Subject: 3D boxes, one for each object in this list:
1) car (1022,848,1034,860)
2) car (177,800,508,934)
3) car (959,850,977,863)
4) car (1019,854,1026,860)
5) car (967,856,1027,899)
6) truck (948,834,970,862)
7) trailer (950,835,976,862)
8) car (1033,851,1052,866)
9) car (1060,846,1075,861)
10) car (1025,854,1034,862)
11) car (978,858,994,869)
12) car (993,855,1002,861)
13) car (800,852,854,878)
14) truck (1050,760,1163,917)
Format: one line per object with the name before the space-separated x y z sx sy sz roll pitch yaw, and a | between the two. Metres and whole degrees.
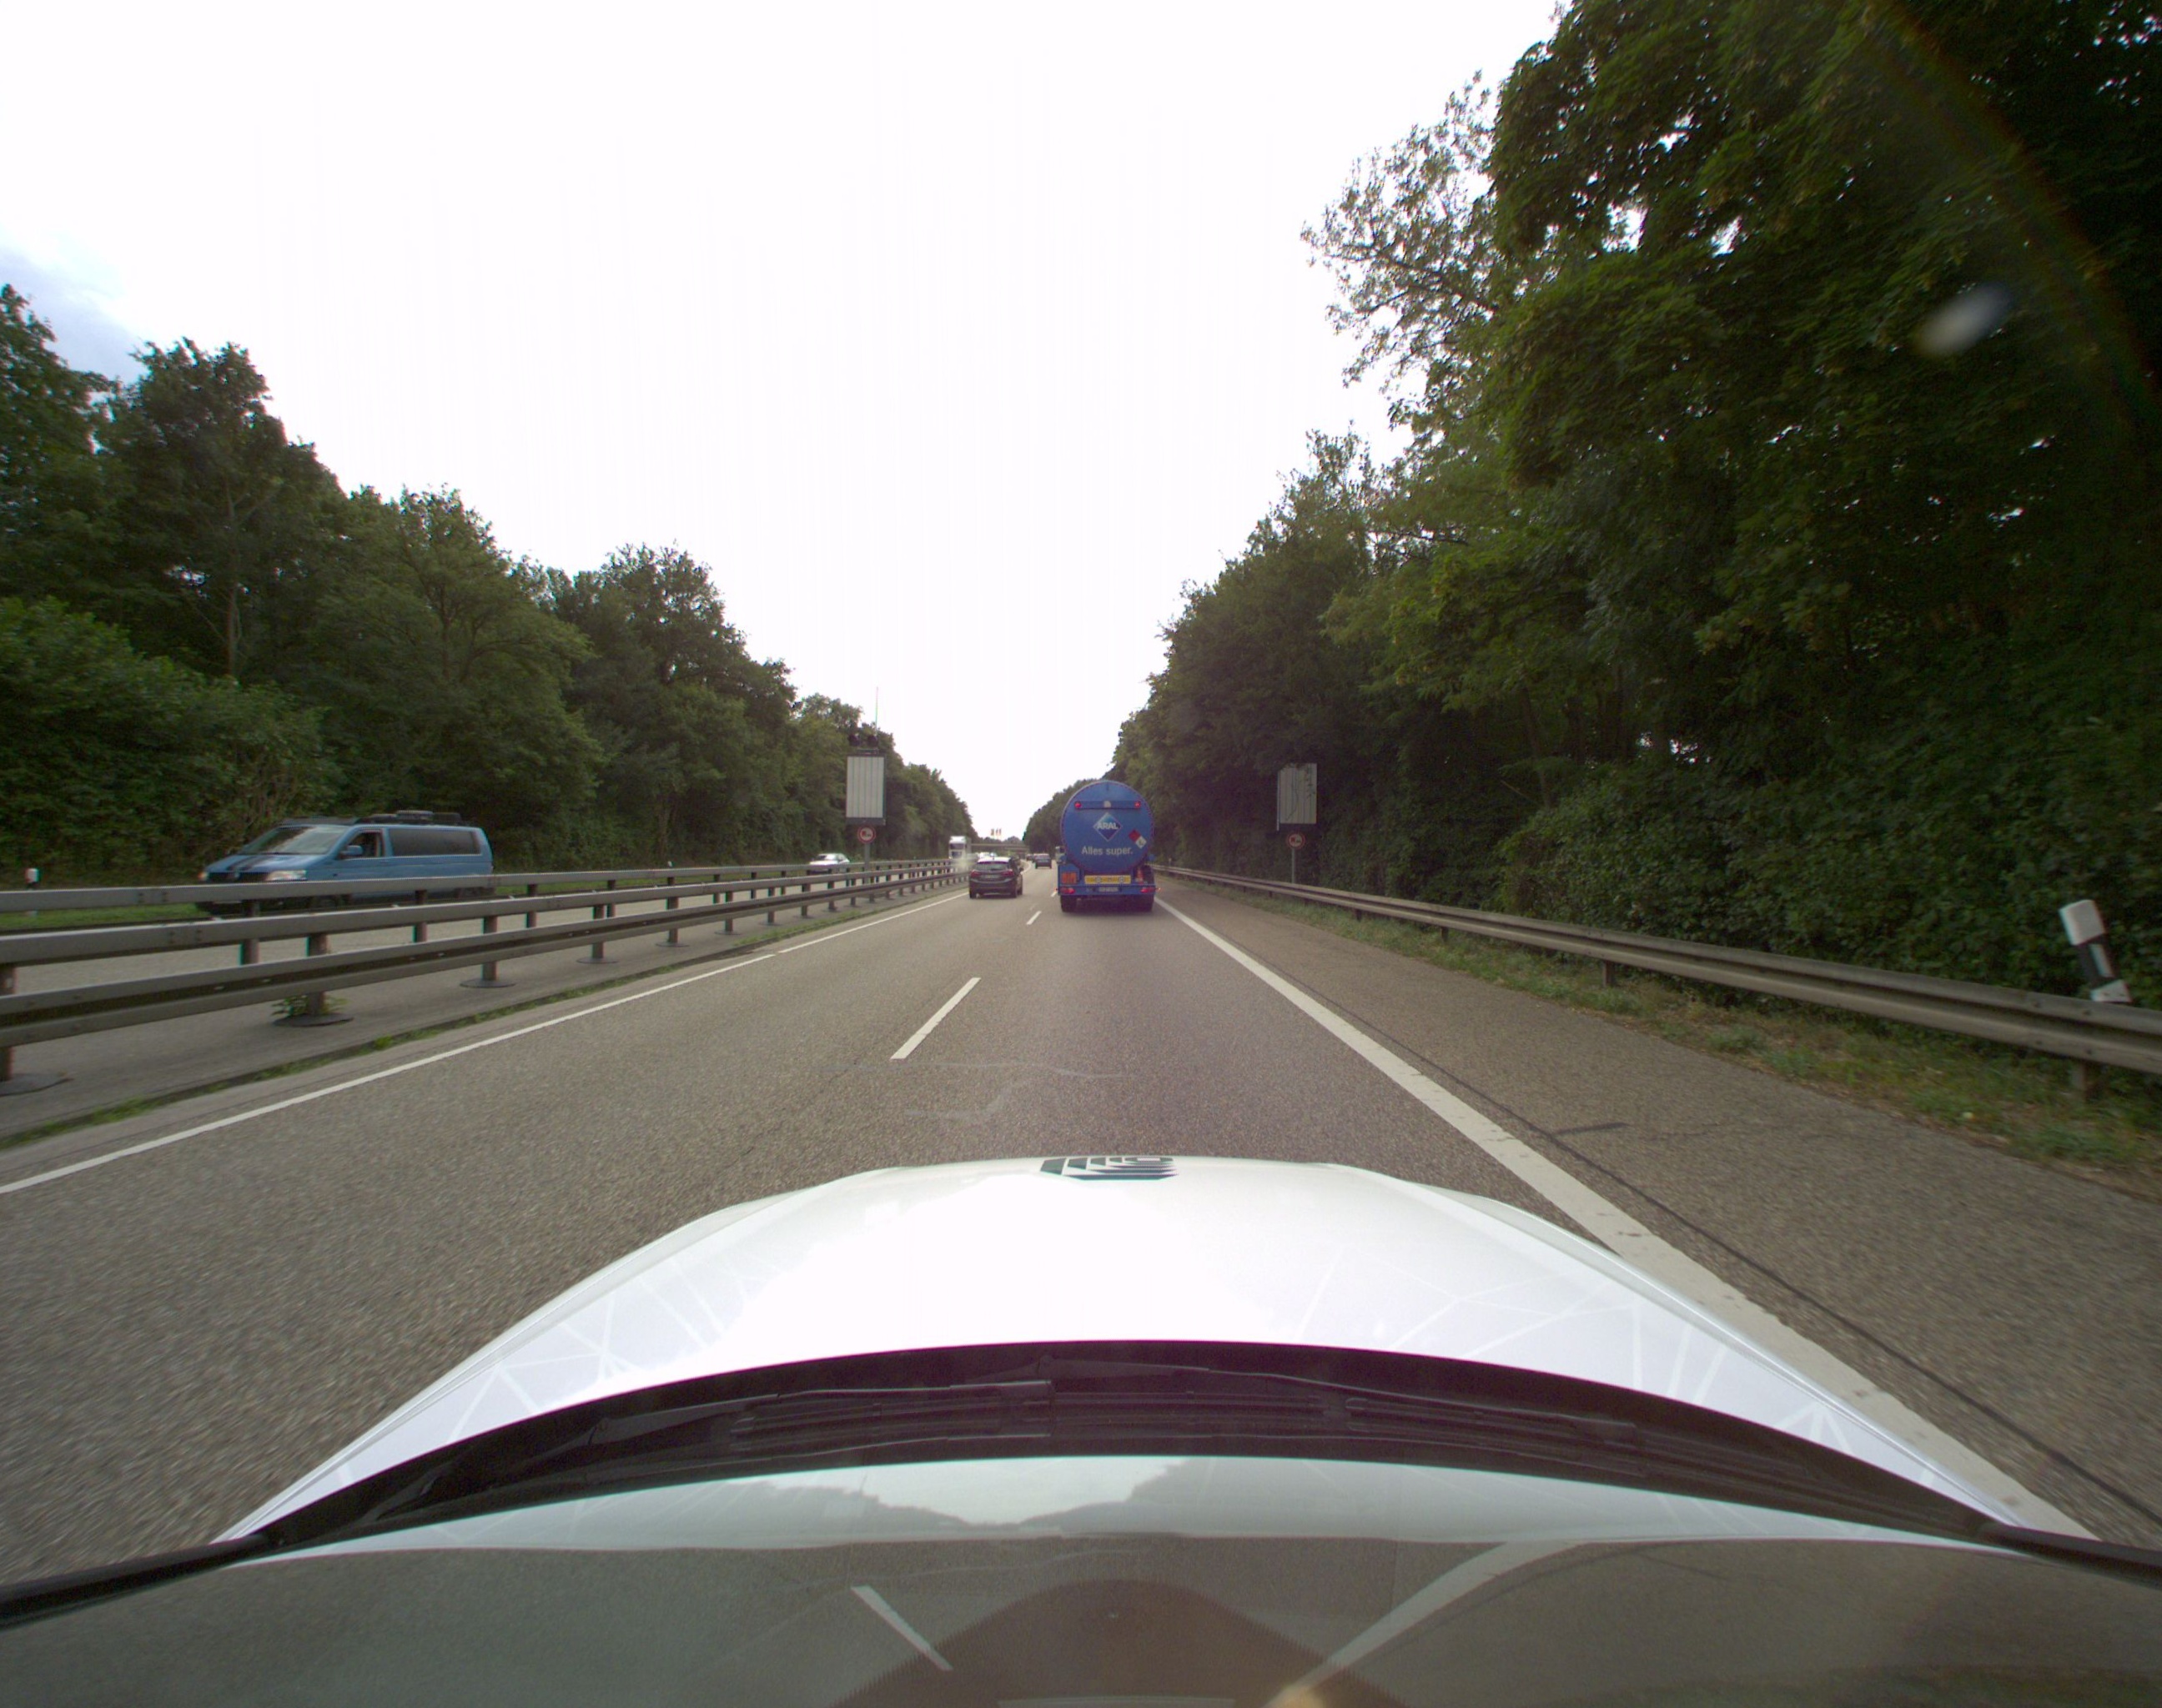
car | -9.331 0.070 142.583 1.991 2.014 3.992 -1 0 -6
car | -14.821 0.231 16.937 1.928 2.321 5.307 -1 0 2
car | -13.175 0.295 95.270 1.705 1.446 3.772 -1 0 -3
car | -17.022 0.938 238.349 1.989 1.552 3.995 -1 0 -3
car | -3.080 0.829 30.723 1.821 1.458 4.637 -1 0 -1
truck | -18.696 -0.867 124.664 2.686 4.063 5.318 -1 0 -2
trailer | -18.884 -0.826 131.226 2.657 4.046 12.862 -1 0 -2
car | -4.137 0.474 89.078 1.820 1.609 4.167 -1 0 0
car | -2.108 -0.081 126.926 1.991 2.244 3.991 -1 0 -6
car | -11.275 0.877 179.440 1.950 1.567 3.996 -1 0 -2
car | -13.772 1.297 117.856 1.786 1.549 4.127 -1 0 -1
car | -19.690 0.951 192.596 1.639 1.389 4.288 -1 0 -2
car | -15.131 0.639 48.732 1.987 1.481 4.130 -1 0 -1
truck | 0.717 -0.387 24.051 2.745 3.846 7.690 -1 0 1
